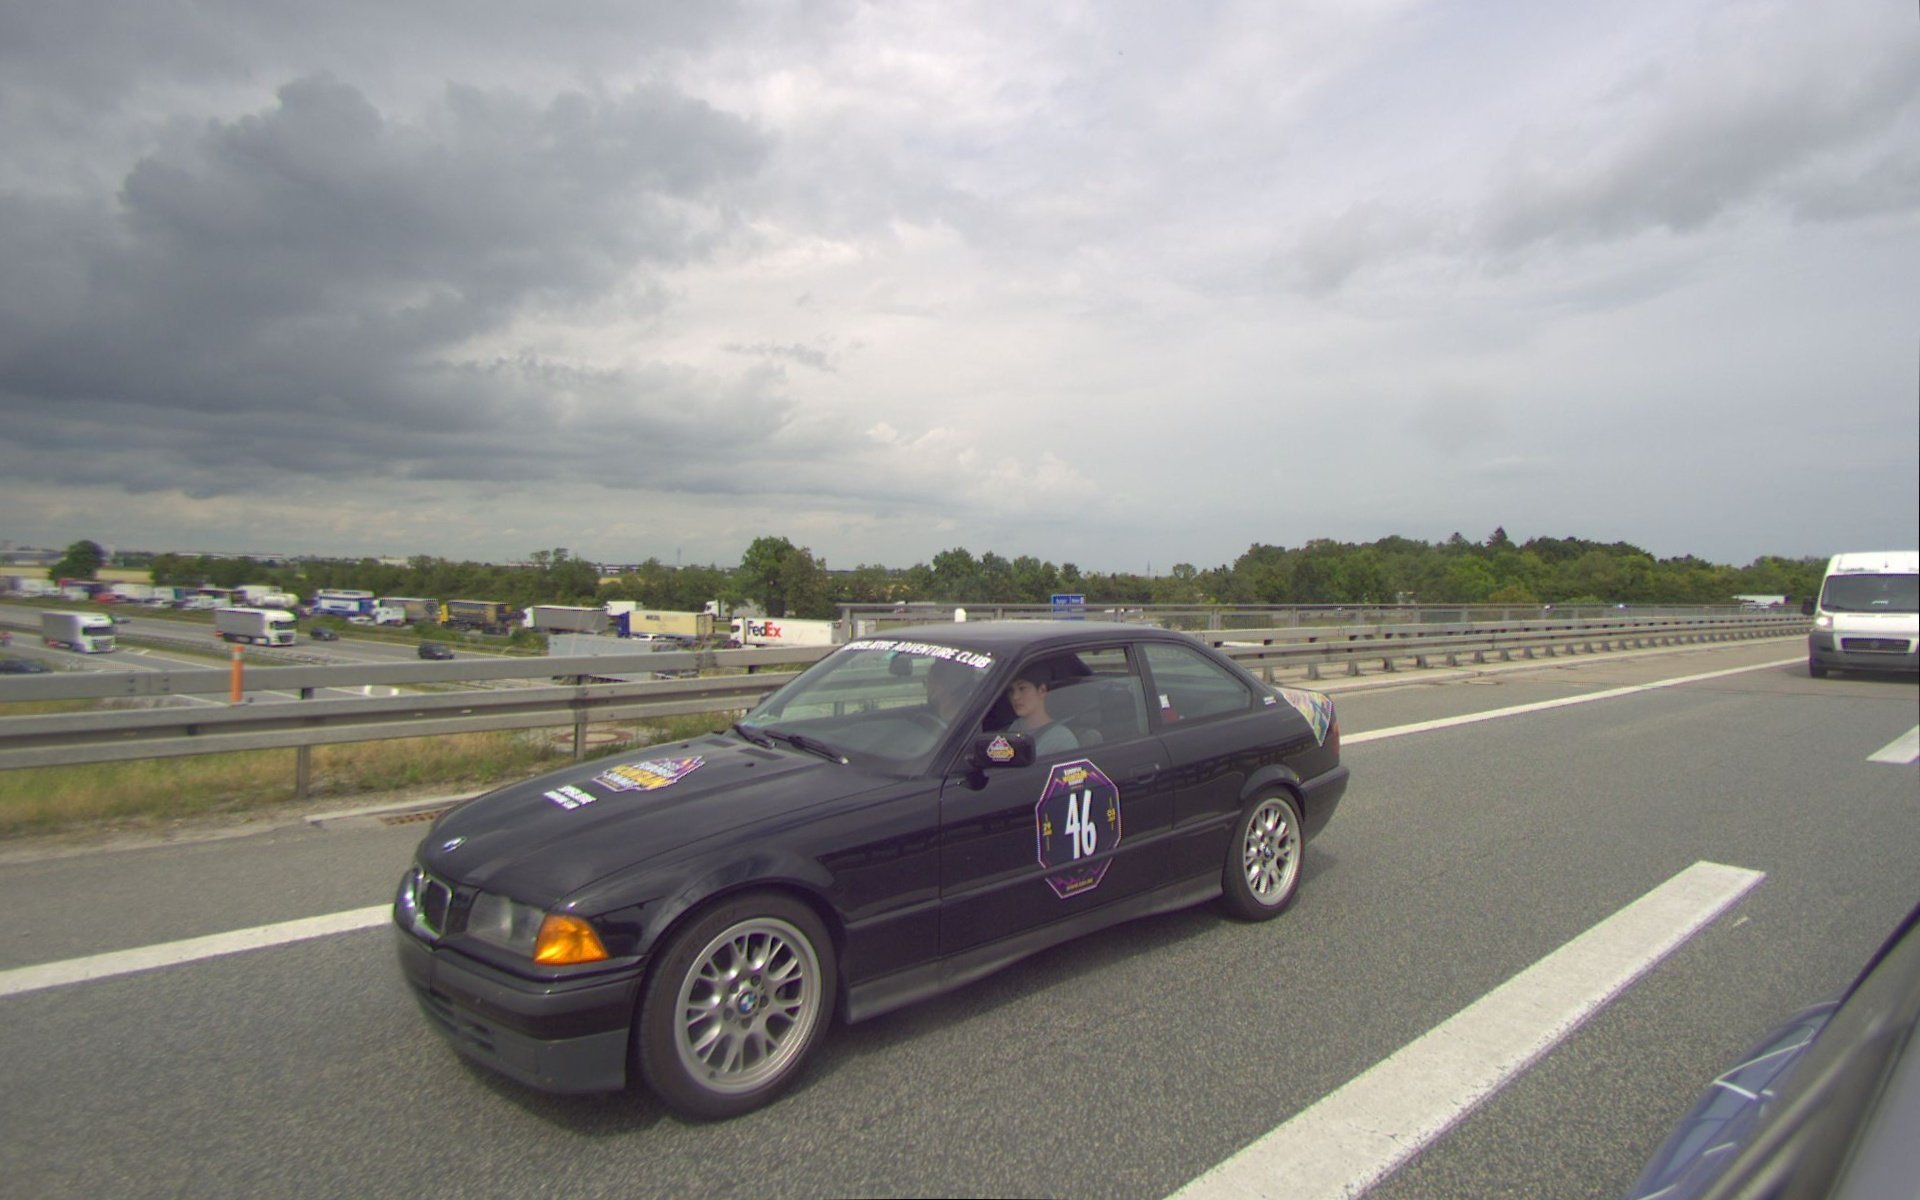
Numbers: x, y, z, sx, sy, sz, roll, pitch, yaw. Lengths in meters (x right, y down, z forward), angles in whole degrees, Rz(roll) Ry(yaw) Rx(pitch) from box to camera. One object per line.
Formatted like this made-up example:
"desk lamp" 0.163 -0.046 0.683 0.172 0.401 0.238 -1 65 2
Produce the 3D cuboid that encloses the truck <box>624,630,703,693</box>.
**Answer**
"truck" -22.592 4.593 77.074 5.580 4.340 3.091 1 0 36

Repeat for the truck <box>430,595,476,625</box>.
"truck" -79.662 1.537 159.031 6.462 4.555 4.017 0 0 38

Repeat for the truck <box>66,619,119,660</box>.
"truck" -95.227 4.298 111.114 6.487 4.151 2.952 0 0 35

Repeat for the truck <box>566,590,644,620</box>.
"truck" -63.378 0.869 180.945 12.778 5.105 3.944 0 0 7

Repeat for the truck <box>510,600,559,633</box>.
"truck" -61.369 2.305 145.976 6.255 4.568 3.881 0 0 36

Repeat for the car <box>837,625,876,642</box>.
"car" -13.154 4.219 128.765 4.635 2.039 2.159 0 0 32

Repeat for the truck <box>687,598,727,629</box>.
"truck" -44.426 2.353 177.805 6.312 5.380 3.864 0 0 -7

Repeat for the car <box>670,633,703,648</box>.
"car" -32.438 4.776 120.173 3.976 1.504 1.715 1 1 36

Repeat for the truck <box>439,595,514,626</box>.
"truck" -73.940 1.521 154.606 15.219 4.612 3.954 0 0 38

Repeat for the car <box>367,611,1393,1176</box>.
"car" 0.012 0.711 4.423 4.287 1.297 1.707 0 0 -40

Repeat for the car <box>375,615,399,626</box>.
"car" -86.126 3.037 152.017 3.975 1.504 1.716 1 1 36

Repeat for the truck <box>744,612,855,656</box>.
"truck" -18.380 3.739 115.417 13.702 4.612 3.957 0 0 36

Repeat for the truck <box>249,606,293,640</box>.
"truck" -80.615 2.687 118.466 5.130 3.725 2.467 1 0 33

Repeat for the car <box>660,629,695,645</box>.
"car" -31.834 4.159 113.994 3.975 1.575 1.651 1 1 36

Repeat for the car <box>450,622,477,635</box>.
"car" -69.199 3.999 141.091 3.975 1.575 1.651 1 1 36

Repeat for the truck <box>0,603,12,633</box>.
"truck" -138.740 2.471 142.013 18.907 4.111 3.947 0 1 33

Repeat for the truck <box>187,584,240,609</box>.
"truck" -151.465 -0.780 205.226 15.249 4.882 4.036 0 0 35

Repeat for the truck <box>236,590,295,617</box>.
"truck" -132.152 0.617 192.410 15.249 4.882 4.036 0 0 35

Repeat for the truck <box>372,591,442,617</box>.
"truck" -90.738 0.673 165.970 14.799 4.083 4.090 0 0 36

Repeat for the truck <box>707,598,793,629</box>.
"truck" -37.006 2.355 178.730 14.555 5.281 3.866 0 0 -7

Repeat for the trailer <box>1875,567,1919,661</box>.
"trailer" 22.571 0.308 23.197 4.550 2.039 1.858 0 0 -41

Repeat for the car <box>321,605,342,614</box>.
"car" -106.514 1.632 171.525 3.974 1.504 1.716 1 1 35

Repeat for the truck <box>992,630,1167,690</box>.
"truck" 10.825 5.354 93.514 16.049 4.759 3.949 0 1 32

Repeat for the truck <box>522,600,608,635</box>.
"truck" -55.367 2.303 141.632 14.796 4.612 3.955 0 0 37

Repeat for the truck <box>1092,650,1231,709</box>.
"truck" 16.301 6.342 82.226 10.702 4.123 3.203 0 0 33

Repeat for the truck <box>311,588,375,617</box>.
"truck" -108.061 0.400 177.135 14.384 4.882 4.037 0 0 34

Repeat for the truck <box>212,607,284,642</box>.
"truck" -85.970 2.873 122.048 13.047 3.725 2.467 2 0 34

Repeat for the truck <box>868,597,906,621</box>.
"truck" -13.241 1.549 184.028 6.308 4.240 3.169 -1 0 -20

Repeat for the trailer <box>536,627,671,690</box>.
"trailer" -29.004 4.535 81.817 13.868 4.340 3.091 1 0 36

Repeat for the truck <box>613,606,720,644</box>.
"truck" -37.830 3.081 129.870 16.263 4.612 3.957 0 0 36

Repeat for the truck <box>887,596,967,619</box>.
"truck" -6.084 1.420 186.667 14.423 4.141 3.092 0 0 -21

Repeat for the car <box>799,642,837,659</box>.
"car" -15.125 5.372 107.780 3.975 1.575 1.651 1 1 36

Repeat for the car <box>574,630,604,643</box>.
"car" -47.888 4.682 130.529 3.976 1.504 1.715 1 1 37

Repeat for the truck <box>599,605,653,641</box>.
"truck" -44.482 2.990 134.694 6.253 4.568 3.882 0 0 36

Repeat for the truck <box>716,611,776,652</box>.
"truck" -25.436 3.667 120.384 6.254 4.568 3.882 0 0 36

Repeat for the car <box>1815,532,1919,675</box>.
"car" 18.686 0.072 19.827 6.045 2.485 2.117 0 0 -42

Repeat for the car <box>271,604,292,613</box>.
"car" -122.129 1.447 182.152 3.974 1.504 1.716 1 1 35
